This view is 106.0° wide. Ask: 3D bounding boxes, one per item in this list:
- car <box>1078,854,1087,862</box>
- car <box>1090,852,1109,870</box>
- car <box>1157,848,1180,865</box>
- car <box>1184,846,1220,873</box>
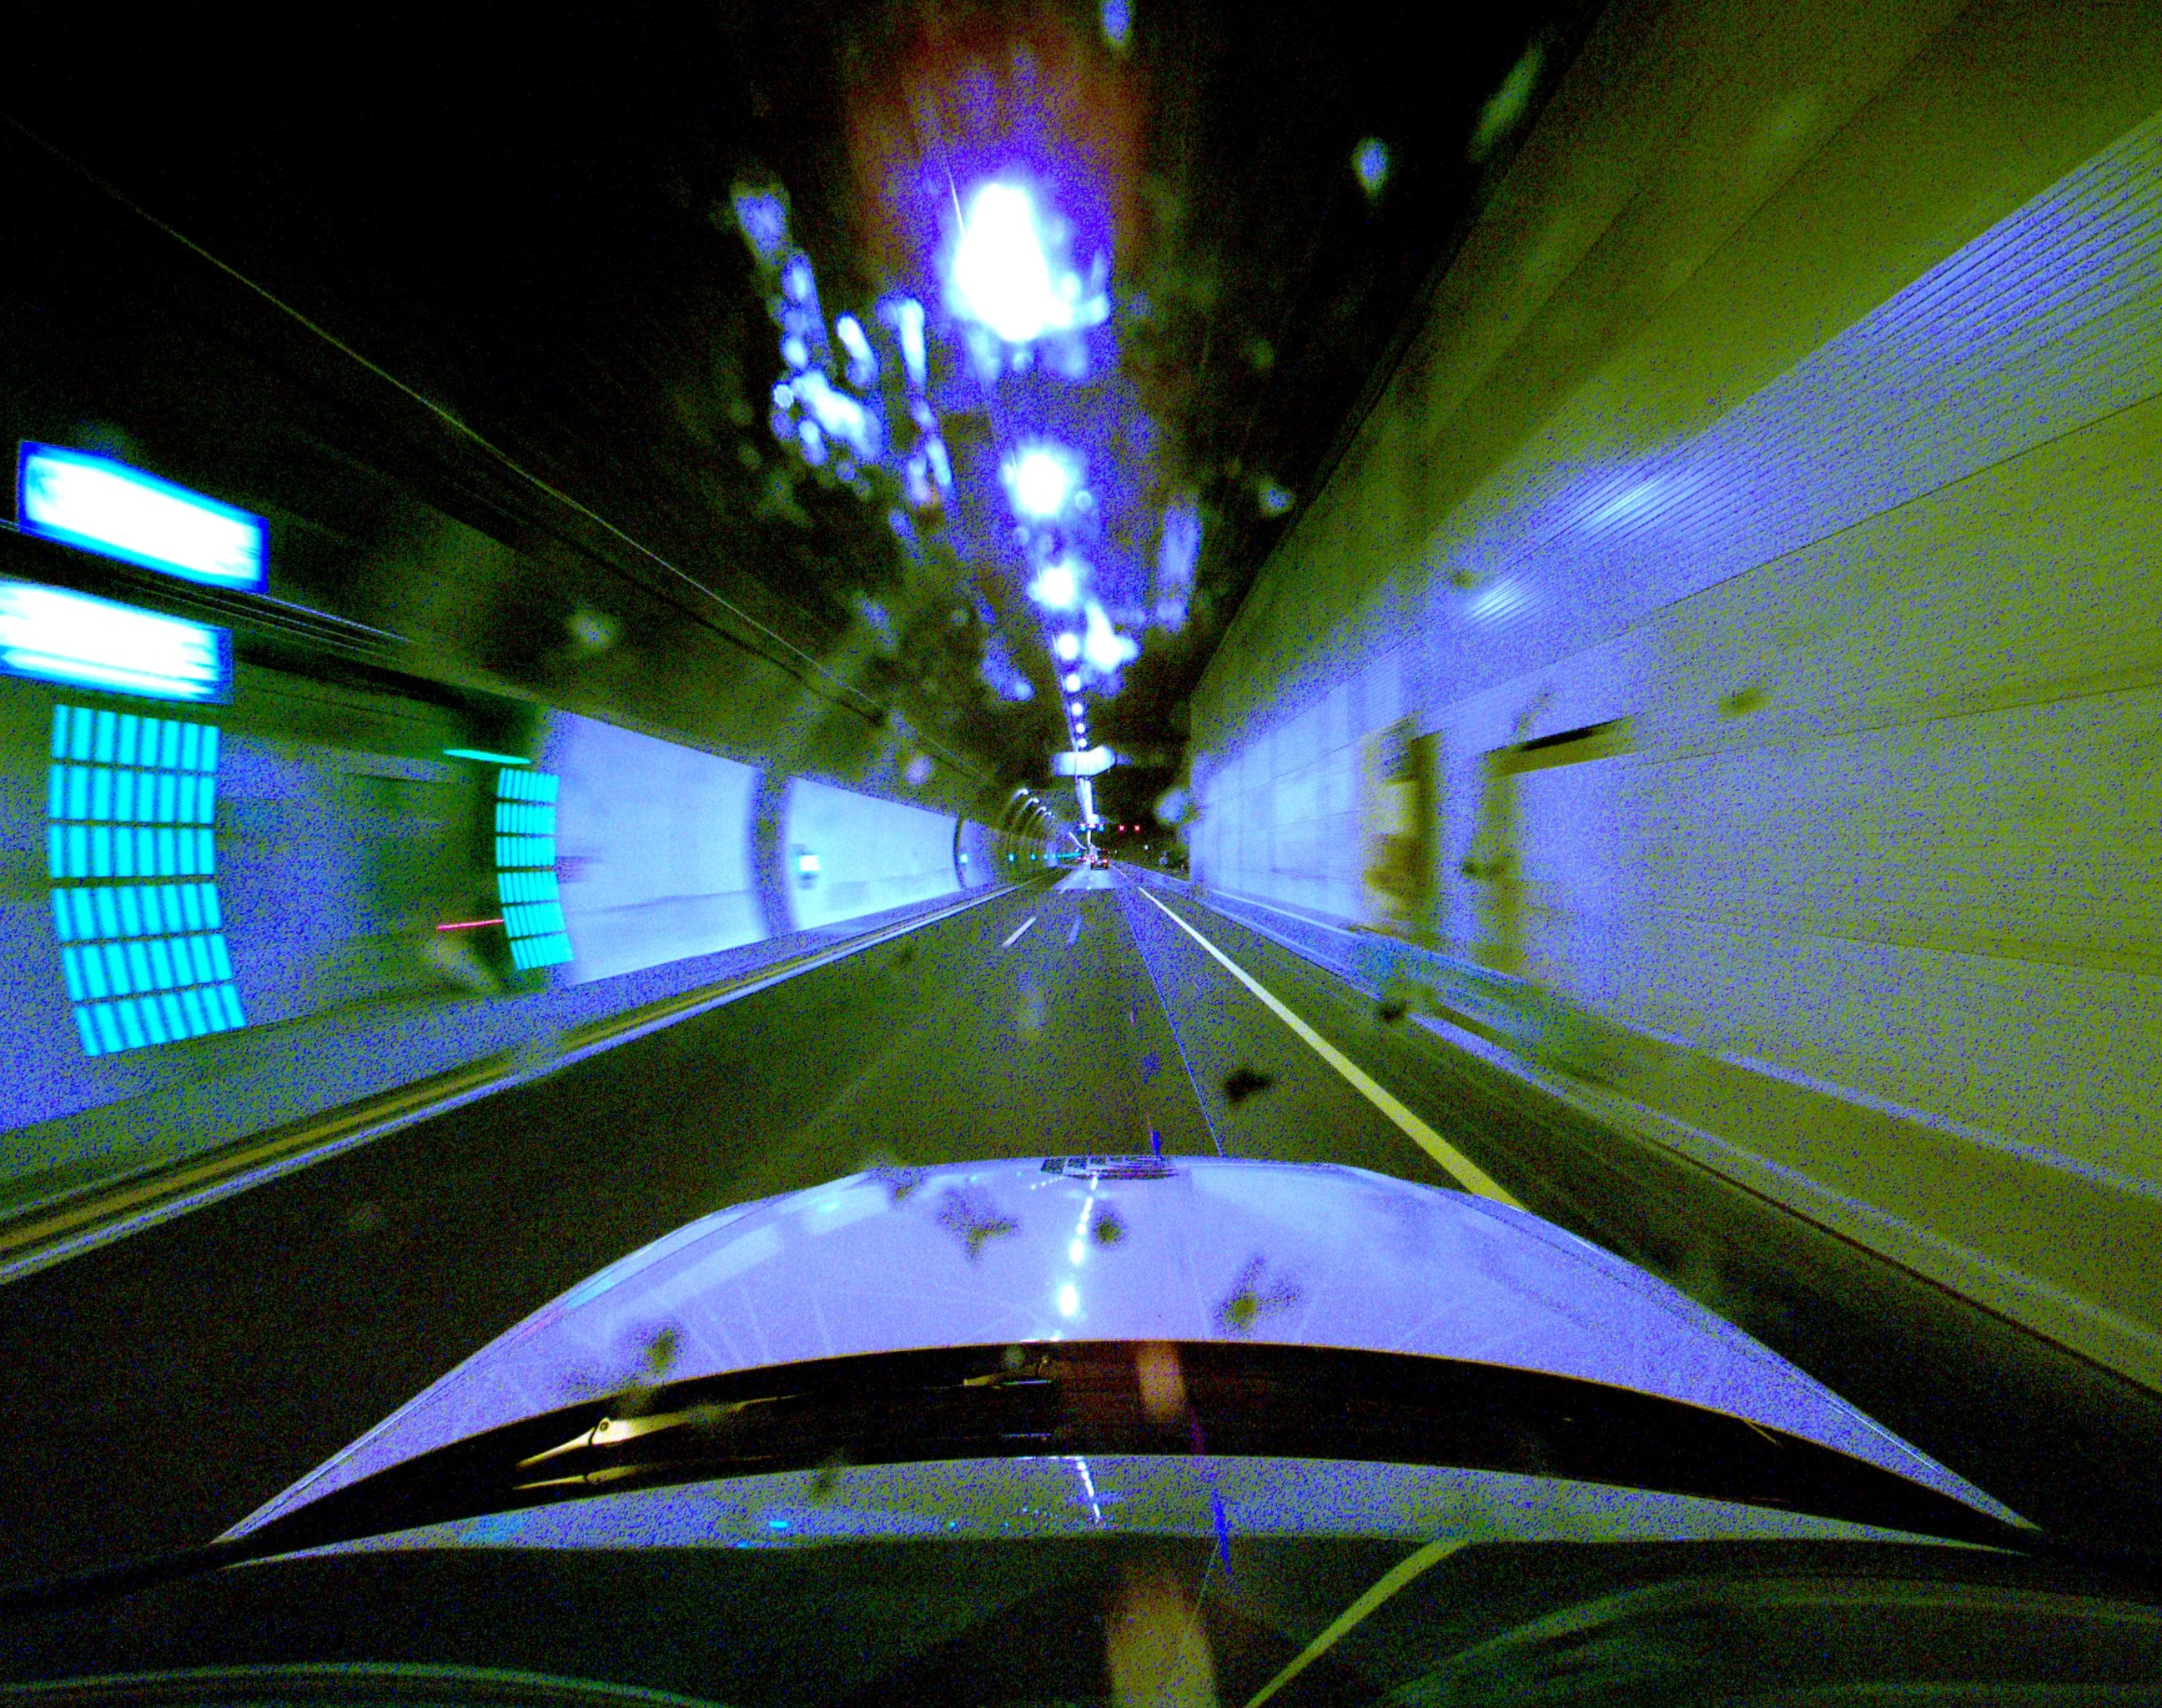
[{"bbox_3d":[0.266,0.883,180.594,1.923,1.687,4.001,-2,0,1],"label":"car"},{"bbox_3d":[1.954,0.764,86.035,1.940,1.794,4.000,-2,0,0],"label":"car"},{"bbox_3d":[9.601,0.279,89.970,1.747,1.845,4.639,-2,0,-4],"label":"car"},{"bbox_3d":[8.843,0.365,60.101,1.822,1.858,5.440,-1,0,0],"label":"car"}]
